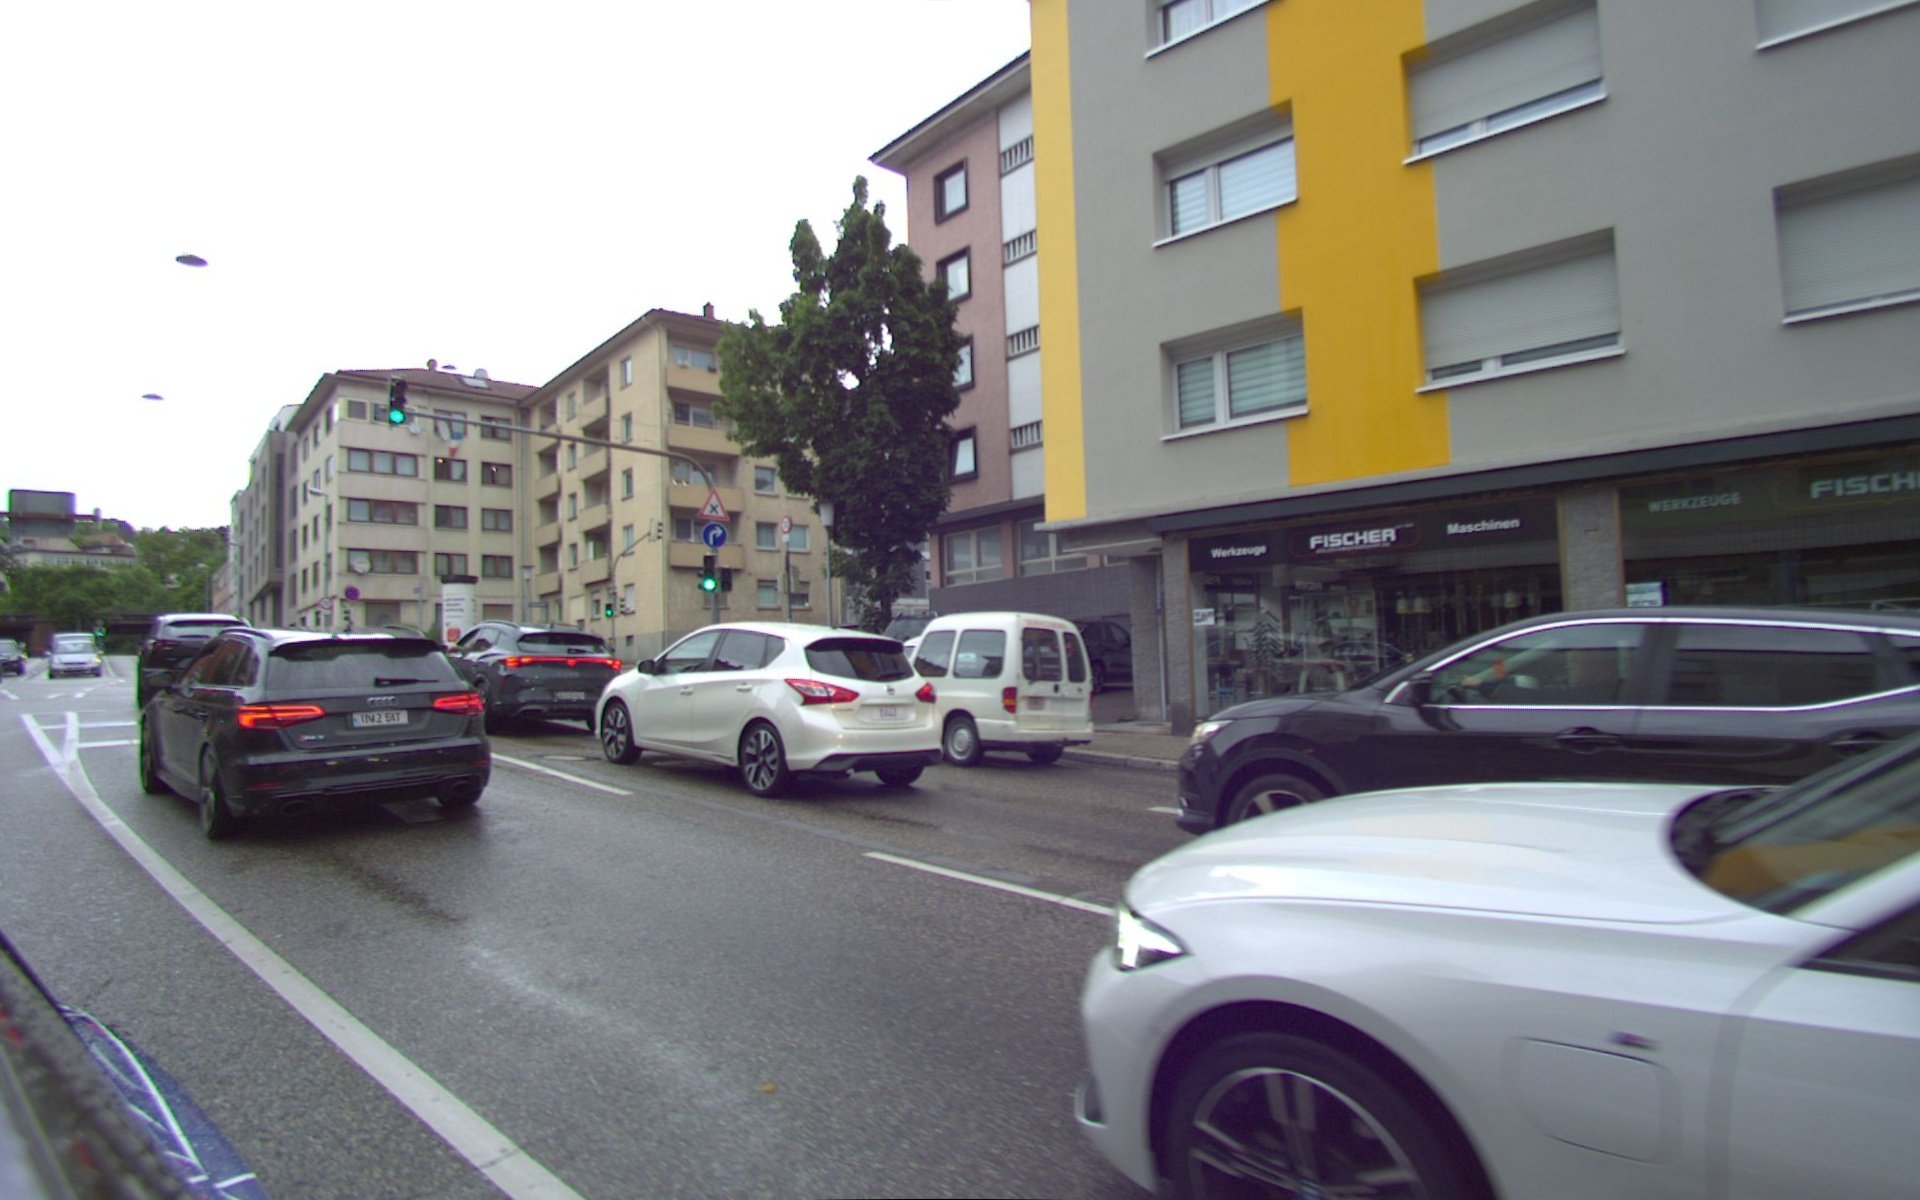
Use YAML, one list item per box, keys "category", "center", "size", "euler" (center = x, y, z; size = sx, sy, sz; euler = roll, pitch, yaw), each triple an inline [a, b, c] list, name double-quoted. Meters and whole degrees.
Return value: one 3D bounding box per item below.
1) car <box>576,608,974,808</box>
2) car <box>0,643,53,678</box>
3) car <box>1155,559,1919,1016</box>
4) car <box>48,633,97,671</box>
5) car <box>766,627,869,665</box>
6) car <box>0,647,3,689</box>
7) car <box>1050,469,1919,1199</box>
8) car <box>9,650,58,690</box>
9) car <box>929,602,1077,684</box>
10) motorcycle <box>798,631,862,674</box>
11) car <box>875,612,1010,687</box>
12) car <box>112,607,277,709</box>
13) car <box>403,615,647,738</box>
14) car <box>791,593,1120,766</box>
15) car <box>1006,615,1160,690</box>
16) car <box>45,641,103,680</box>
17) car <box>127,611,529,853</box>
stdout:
- category: "car"
  center: [-2.034, 0.961, 10.078]
  size: [1.785, 1.554, 4.382]
  euler: [2, -4, -44]
- category: "car"
  center: [-43.604, 2.822, 47.195]
  size: [1.812, 1.566, 4.006]
  euler: [1, -4, -40]
- category: "car"
  center: [3.333, 0.745, 4.986]
  size: [4.341, 1.644, 1.787]
  euler: [-1, -5, 42]
- category: "car"
  center: [-51.444, 3.063, 58.737]
  size: [1.913, 1.930, 4.863]
  euler: [0, -4, -39]
- category: "car"
  center: [-5.952, 1.934, 42.638]
  size: [4.010, 1.492, 1.735]
  euler: [2, -6, -43]
- category: "car"
  center: [-35.230, 2.449, 35.845]
  size: [1.848, 1.453, 4.002]
  euler: [1, -3, -45]
- category: "car"
  center: [2.500, 0.612, 1.416]
  size: [4.559, 1.533, 1.788]
  euler: [-1, -2, 41]
- category: "car"
  center: [-46.488, 3.546, 50.835]
  size: [1.767, 1.741, 4.005]
  euler: [0, -5, -42]
- category: "car"
  center: [1.130, 1.020, 24.523]
  size: [1.855, 1.807, 3.956]
  euler: [0, -2, 32]
- category: "motorcycle"
  center: [-3.303, 1.322, 25.797]
  size: [0.453, 1.040, 1.771]
  euler: [-3, -3, 39]
- category: "car"
  center: [-0.340, 1.217, 26.233]
  size: [1.764, 1.741, 4.309]
  euler: [1, -1, 25]
- category: "car"
  center: [-13.486, 0.928, 17.716]
  size: [1.797, 1.548, 4.383]
  euler: [2, -2, -43]
- category: "car"
  center: [-6.334, 1.051, 14.467]
  size: [1.797, 1.489, 4.382]
  euler: [2, -4, -44]
- category: "car"
  center: [-0.177, 0.971, 12.830]
  size: [4.062, 1.844, 1.708]
  euler: [-1, -7, 45]
- category: "car"
  center: [2.852, 1.115, 22.794]
  size: [1.856, 1.507, 3.953]
  euler: [0, -1, 34]
- category: "car"
  center: [-38.524, 2.634, 44.078]
  size: [1.812, 1.566, 4.006]
  euler: [1, -4, -40]
- category: "car"
  center: [-5.285, 0.834, 8.186]
  size: [4.381, 1.425, 1.786]
  euler: [-1, -2, 45]
